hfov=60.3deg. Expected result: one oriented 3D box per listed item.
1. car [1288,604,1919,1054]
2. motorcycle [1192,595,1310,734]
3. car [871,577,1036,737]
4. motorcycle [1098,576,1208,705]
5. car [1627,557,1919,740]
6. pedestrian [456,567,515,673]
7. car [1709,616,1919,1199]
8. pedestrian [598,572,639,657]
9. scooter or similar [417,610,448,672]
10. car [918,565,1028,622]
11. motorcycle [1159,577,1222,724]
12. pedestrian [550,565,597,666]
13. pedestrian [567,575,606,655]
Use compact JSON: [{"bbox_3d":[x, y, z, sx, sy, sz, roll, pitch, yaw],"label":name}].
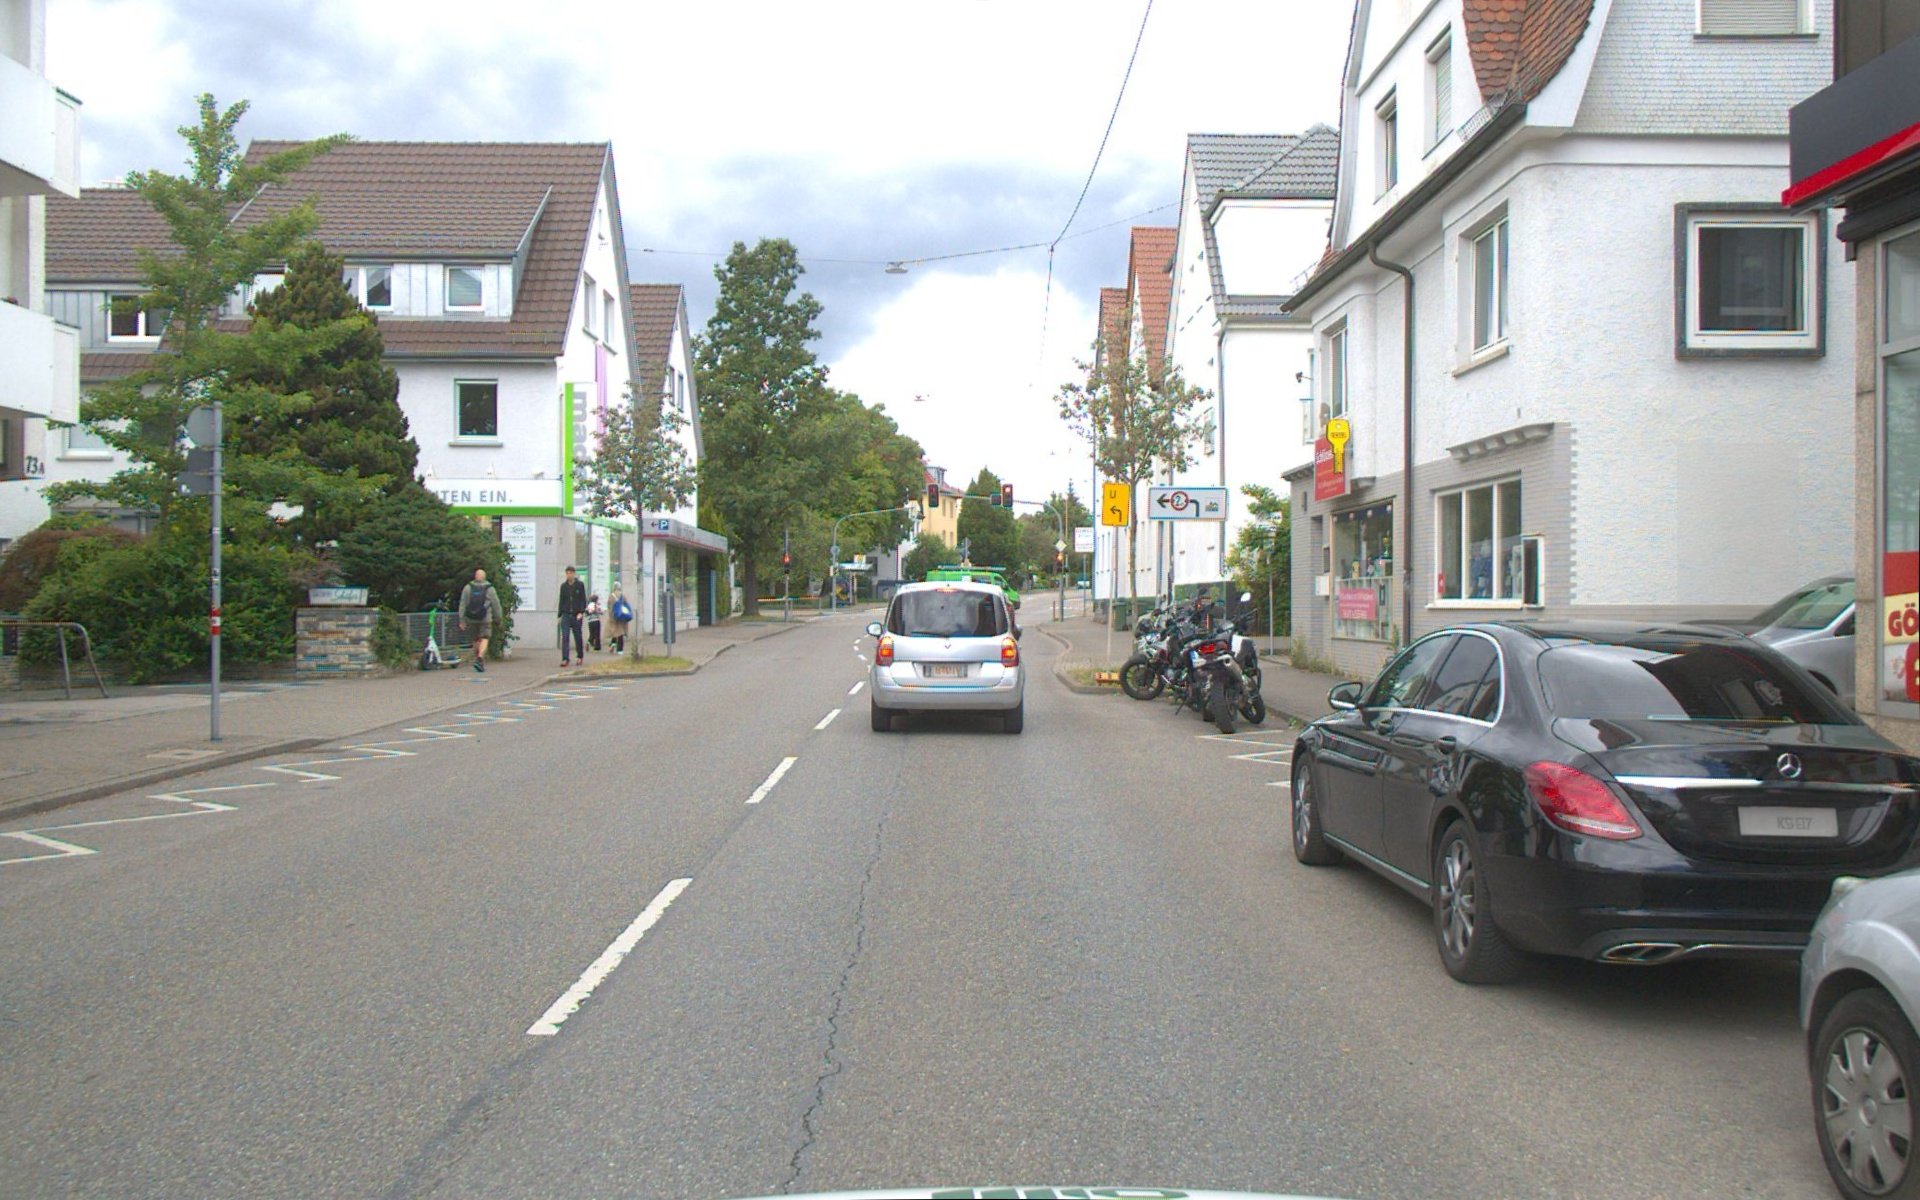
[{"bbox_3d":[2.821,0.784,7.708,1.666,1.493,4.238,1,0,-1],"label":"car"},{"bbox_3d":[3.312,0.680,18.603,0.684,1.434,2.715,1,0,23],"label":"motorcycle"},{"bbox_3d":[-0.058,0.580,18.907,1.648,1.593,3.993,1,0,0],"label":"car"},{"bbox_3d":[2.619,0.531,22.710,0.686,1.667,2.400,1,0,-14],"label":"motorcycle"},{"bbox_3d":[8.643,0.462,15.744,3.899,1.593,1.688,2,0,0],"label":"car"},{"bbox_3d":[-8.329,0.342,29.034,0.747,1.822,0.889,1,0,-1],"label":"pedestrian"},{"bbox_3d":[3.057,0.788,2.899,1.666,1.455,3.889,1,0,-1],"label":"car"},{"bbox_3d":[-7.811,0.337,37.849,0.746,1.909,0.695,1,0,-1],"label":"pedestrian"},{"bbox_3d":[-9.199,0.712,28.857,0.366,1.053,0.559,0,0,-1],"label":"scooter or similar"},{"bbox_3d":[0.743,-0.344,90.975,5.884,2.958,2.225,1,0,-37],"label":"car"},{"bbox_3d":[2.815,0.580,20.067,0.683,1.667,2.411,1,0,9],"label":"motorcycle"},{"bbox_3d":[-7.393,0.294,31.620,0.702,1.909,0.695,1,0,-1],"label":"pedestrian"},{"bbox_3d":[-8.593,0.343,38.055,0.702,1.787,0.695,1,0,-1],"label":"pedestrian"}]
